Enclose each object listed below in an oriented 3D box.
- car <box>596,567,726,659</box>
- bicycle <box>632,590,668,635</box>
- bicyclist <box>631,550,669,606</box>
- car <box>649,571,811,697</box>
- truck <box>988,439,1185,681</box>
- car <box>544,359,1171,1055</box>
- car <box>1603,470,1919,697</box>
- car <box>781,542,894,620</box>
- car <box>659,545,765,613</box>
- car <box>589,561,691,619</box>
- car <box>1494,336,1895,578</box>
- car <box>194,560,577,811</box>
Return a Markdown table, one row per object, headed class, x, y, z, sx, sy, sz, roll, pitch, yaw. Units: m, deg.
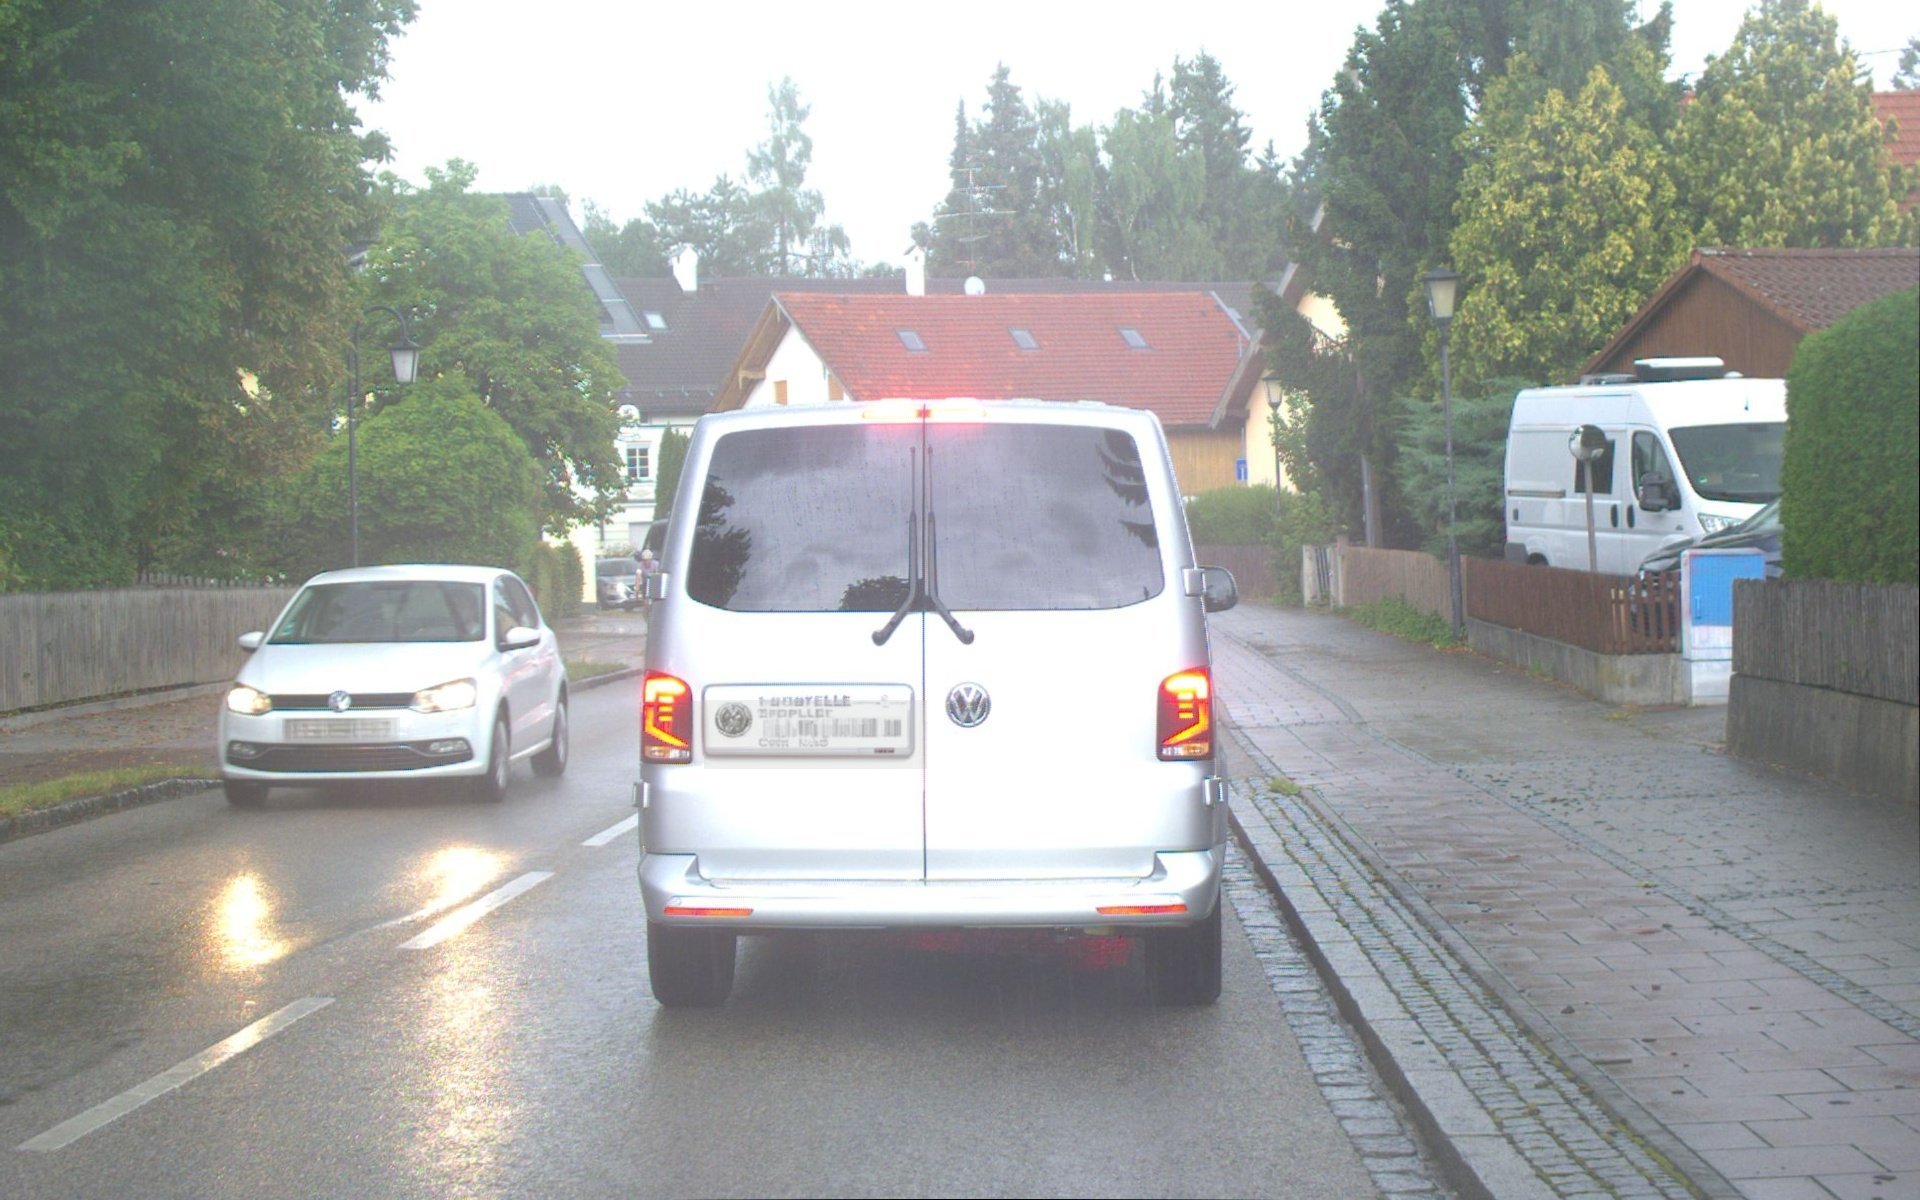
| class | x | y | z | sx | sy | sz | roll | pitch | yaw |
| --- | --- | --- | --- | --- | --- | --- | --- | --- | --- |
| car | -4.819 | 0.204 | 55.832 | 1.618 | 1.439 | 3.670 | 0 | 0 | 3 |
| bicycle | -5.705 | 0.219 | 63.258 | 0.456 | 0.796 | 1.977 | 0 | 1 | 1 |
| bicyclist | -5.712 | -0.417 | 63.321 | 0.587 | 1.018 | 1.060 | 0 | 1 | 1 |
| car | -2.759 | 0.388 | 41.956 | 1.716 | 1.437 | 4.000 | 1 | 0 | 0 |
| truck | 1.667 | -0.526 | 47.045 | 2.475 | 3.063 | 6.296 | 1 | 0 | 1 |
| car | -0.182 | 0.301 | 12.024 | 1.801 | 2.007 | 3.999 | 1 | 0 | 4 |
| car | 7.607 | -0.181 | 28.708 | 4.093 | 1.745 | 1.695 | -2 | 3 | -2 |
| car | -3.312 | -0.506 | 92.114 | 1.993 | 2.007 | 4.001 | 1 | 0 | -18 |
| car | -7.338 | -0.619 | 101.230 | 1.993 | 1.920 | 4.001 | 1 | 0 | -21 |
| car | -8.917 | -0.263 | 95.609 | 1.827 | 1.553 | 4.178 | -1 | 0 | -19 |
| car | 7.091 | -1.314 | 33.817 | 1.993 | 2.166 | 4.954 | 1 | 0 | -12 |
| car | -3.506 | 0.486 | 21.593 | 1.618 | 1.439 | 3.670 | 0 | 0 | 3 |
